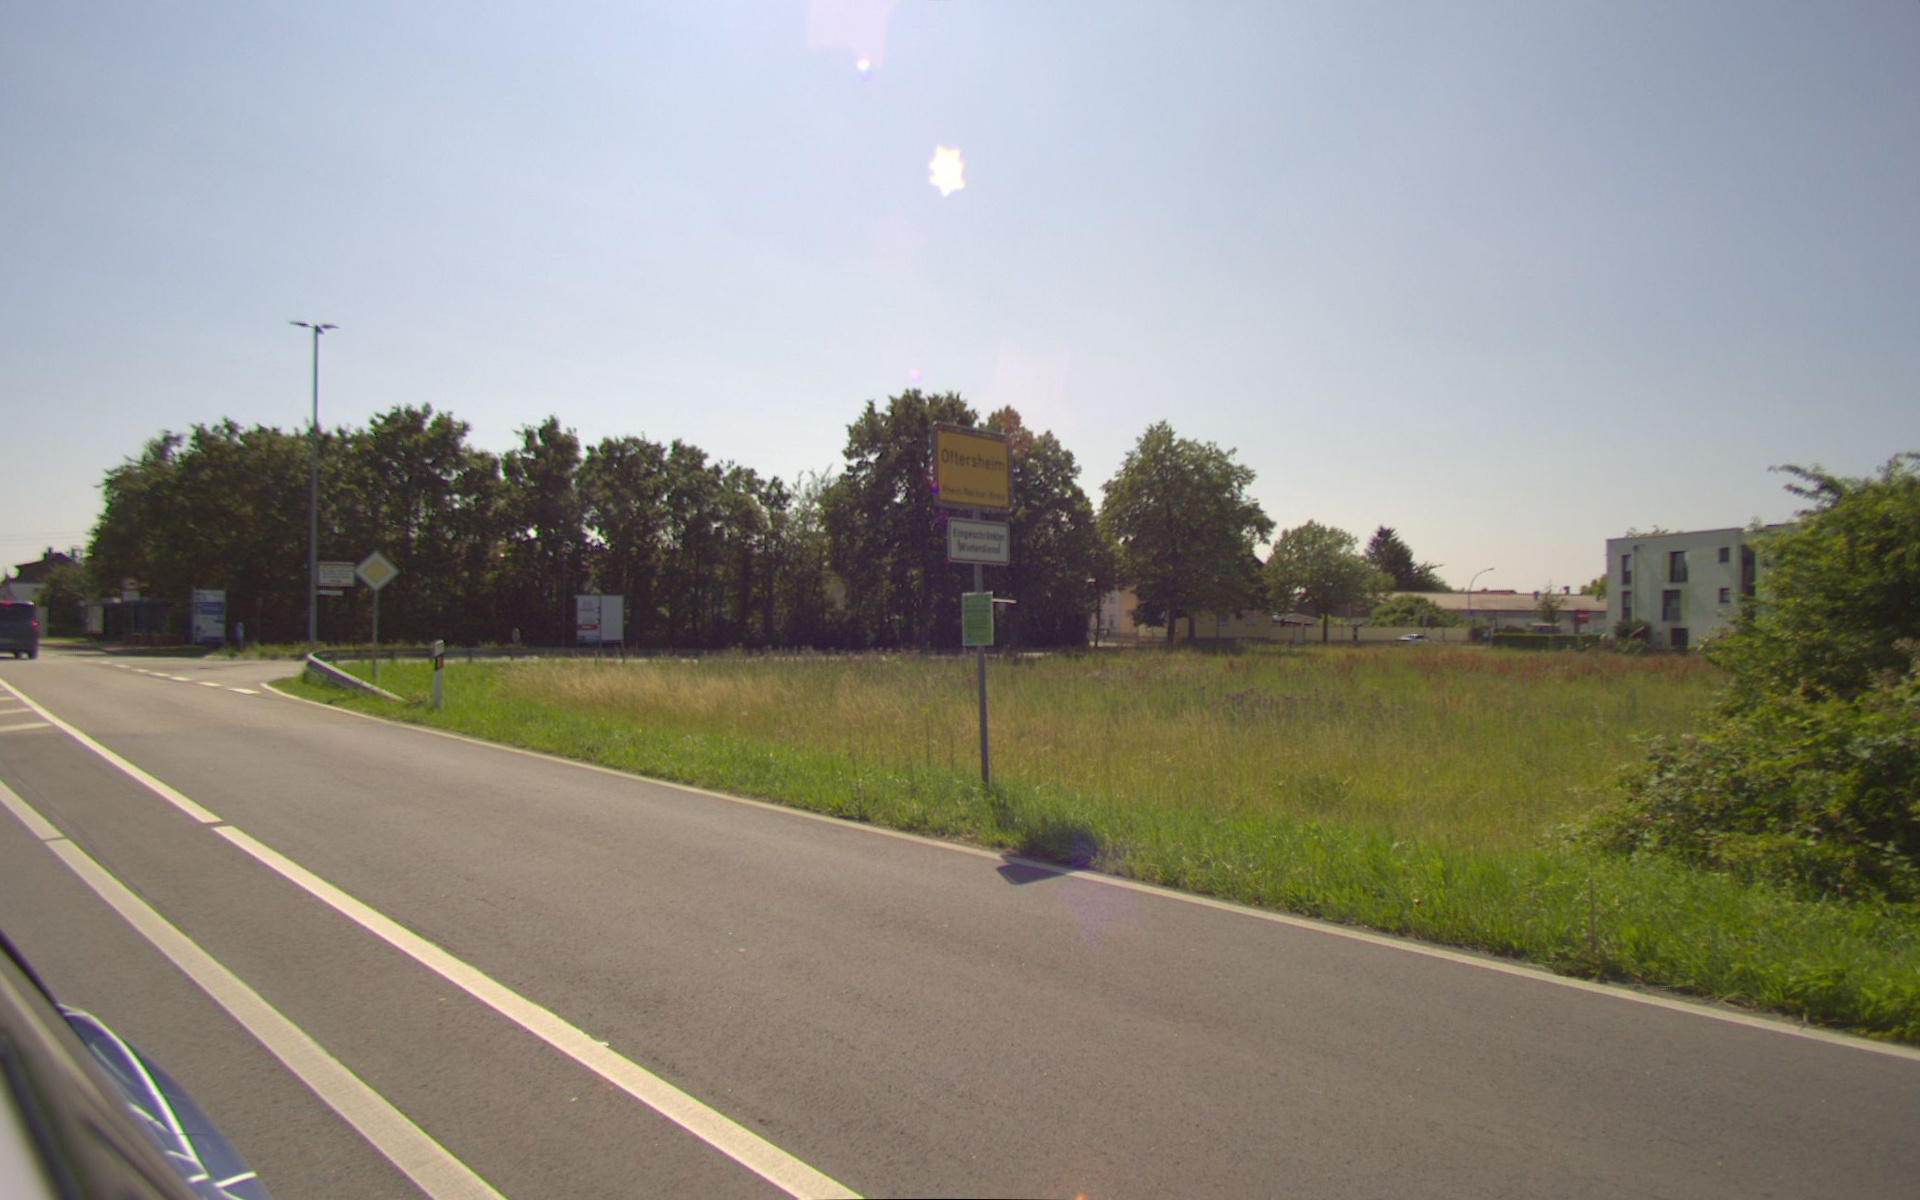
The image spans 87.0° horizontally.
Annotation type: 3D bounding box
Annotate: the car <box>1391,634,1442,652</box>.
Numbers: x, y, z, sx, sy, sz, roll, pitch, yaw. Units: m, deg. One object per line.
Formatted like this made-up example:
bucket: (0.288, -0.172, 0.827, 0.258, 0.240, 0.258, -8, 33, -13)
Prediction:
car: (39.224, 3.677, 86.969, 4.339, 1.482, 1.646, 1, -2, -28)

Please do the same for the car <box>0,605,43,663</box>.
car: (-34.680, 1.206, 36.237, 5.245, 1.966, 2.121, -1, -3, 42)
